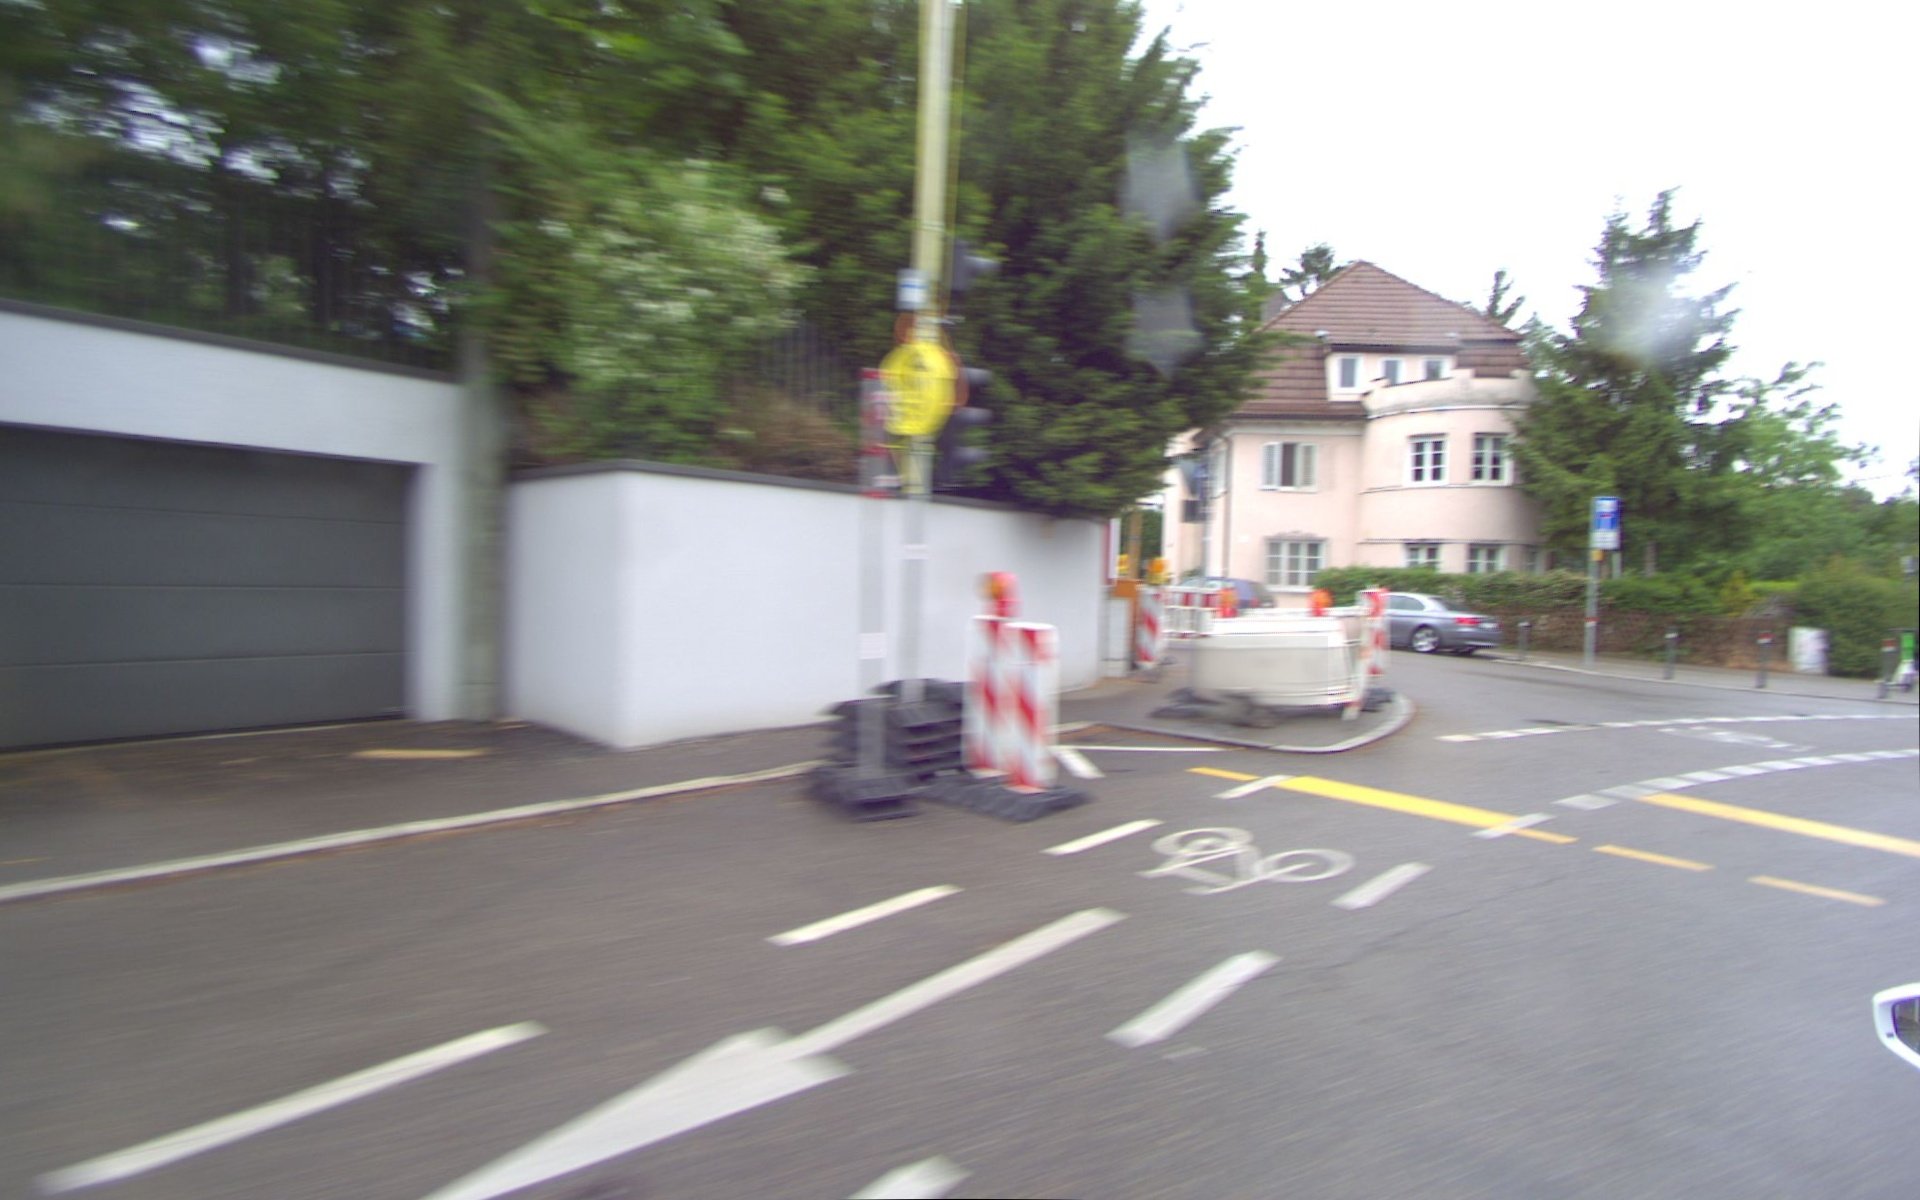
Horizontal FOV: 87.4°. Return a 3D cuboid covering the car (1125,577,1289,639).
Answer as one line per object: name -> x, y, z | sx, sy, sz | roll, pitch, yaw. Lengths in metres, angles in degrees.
car -> 6.866, 0.185, 28.181 | 4.144, 1.421, 1.666 | 5, 3, 43

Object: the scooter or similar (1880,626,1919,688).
scooter or similar -> 17.599, 1.053, 18.717 | 0.239, 1.083, 1.036 | 4, 2, 21

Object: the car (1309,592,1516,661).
car -> 10.623, 0.579, 23.854 | 1.660, 1.283, 4.158 | 2, 3, -37
